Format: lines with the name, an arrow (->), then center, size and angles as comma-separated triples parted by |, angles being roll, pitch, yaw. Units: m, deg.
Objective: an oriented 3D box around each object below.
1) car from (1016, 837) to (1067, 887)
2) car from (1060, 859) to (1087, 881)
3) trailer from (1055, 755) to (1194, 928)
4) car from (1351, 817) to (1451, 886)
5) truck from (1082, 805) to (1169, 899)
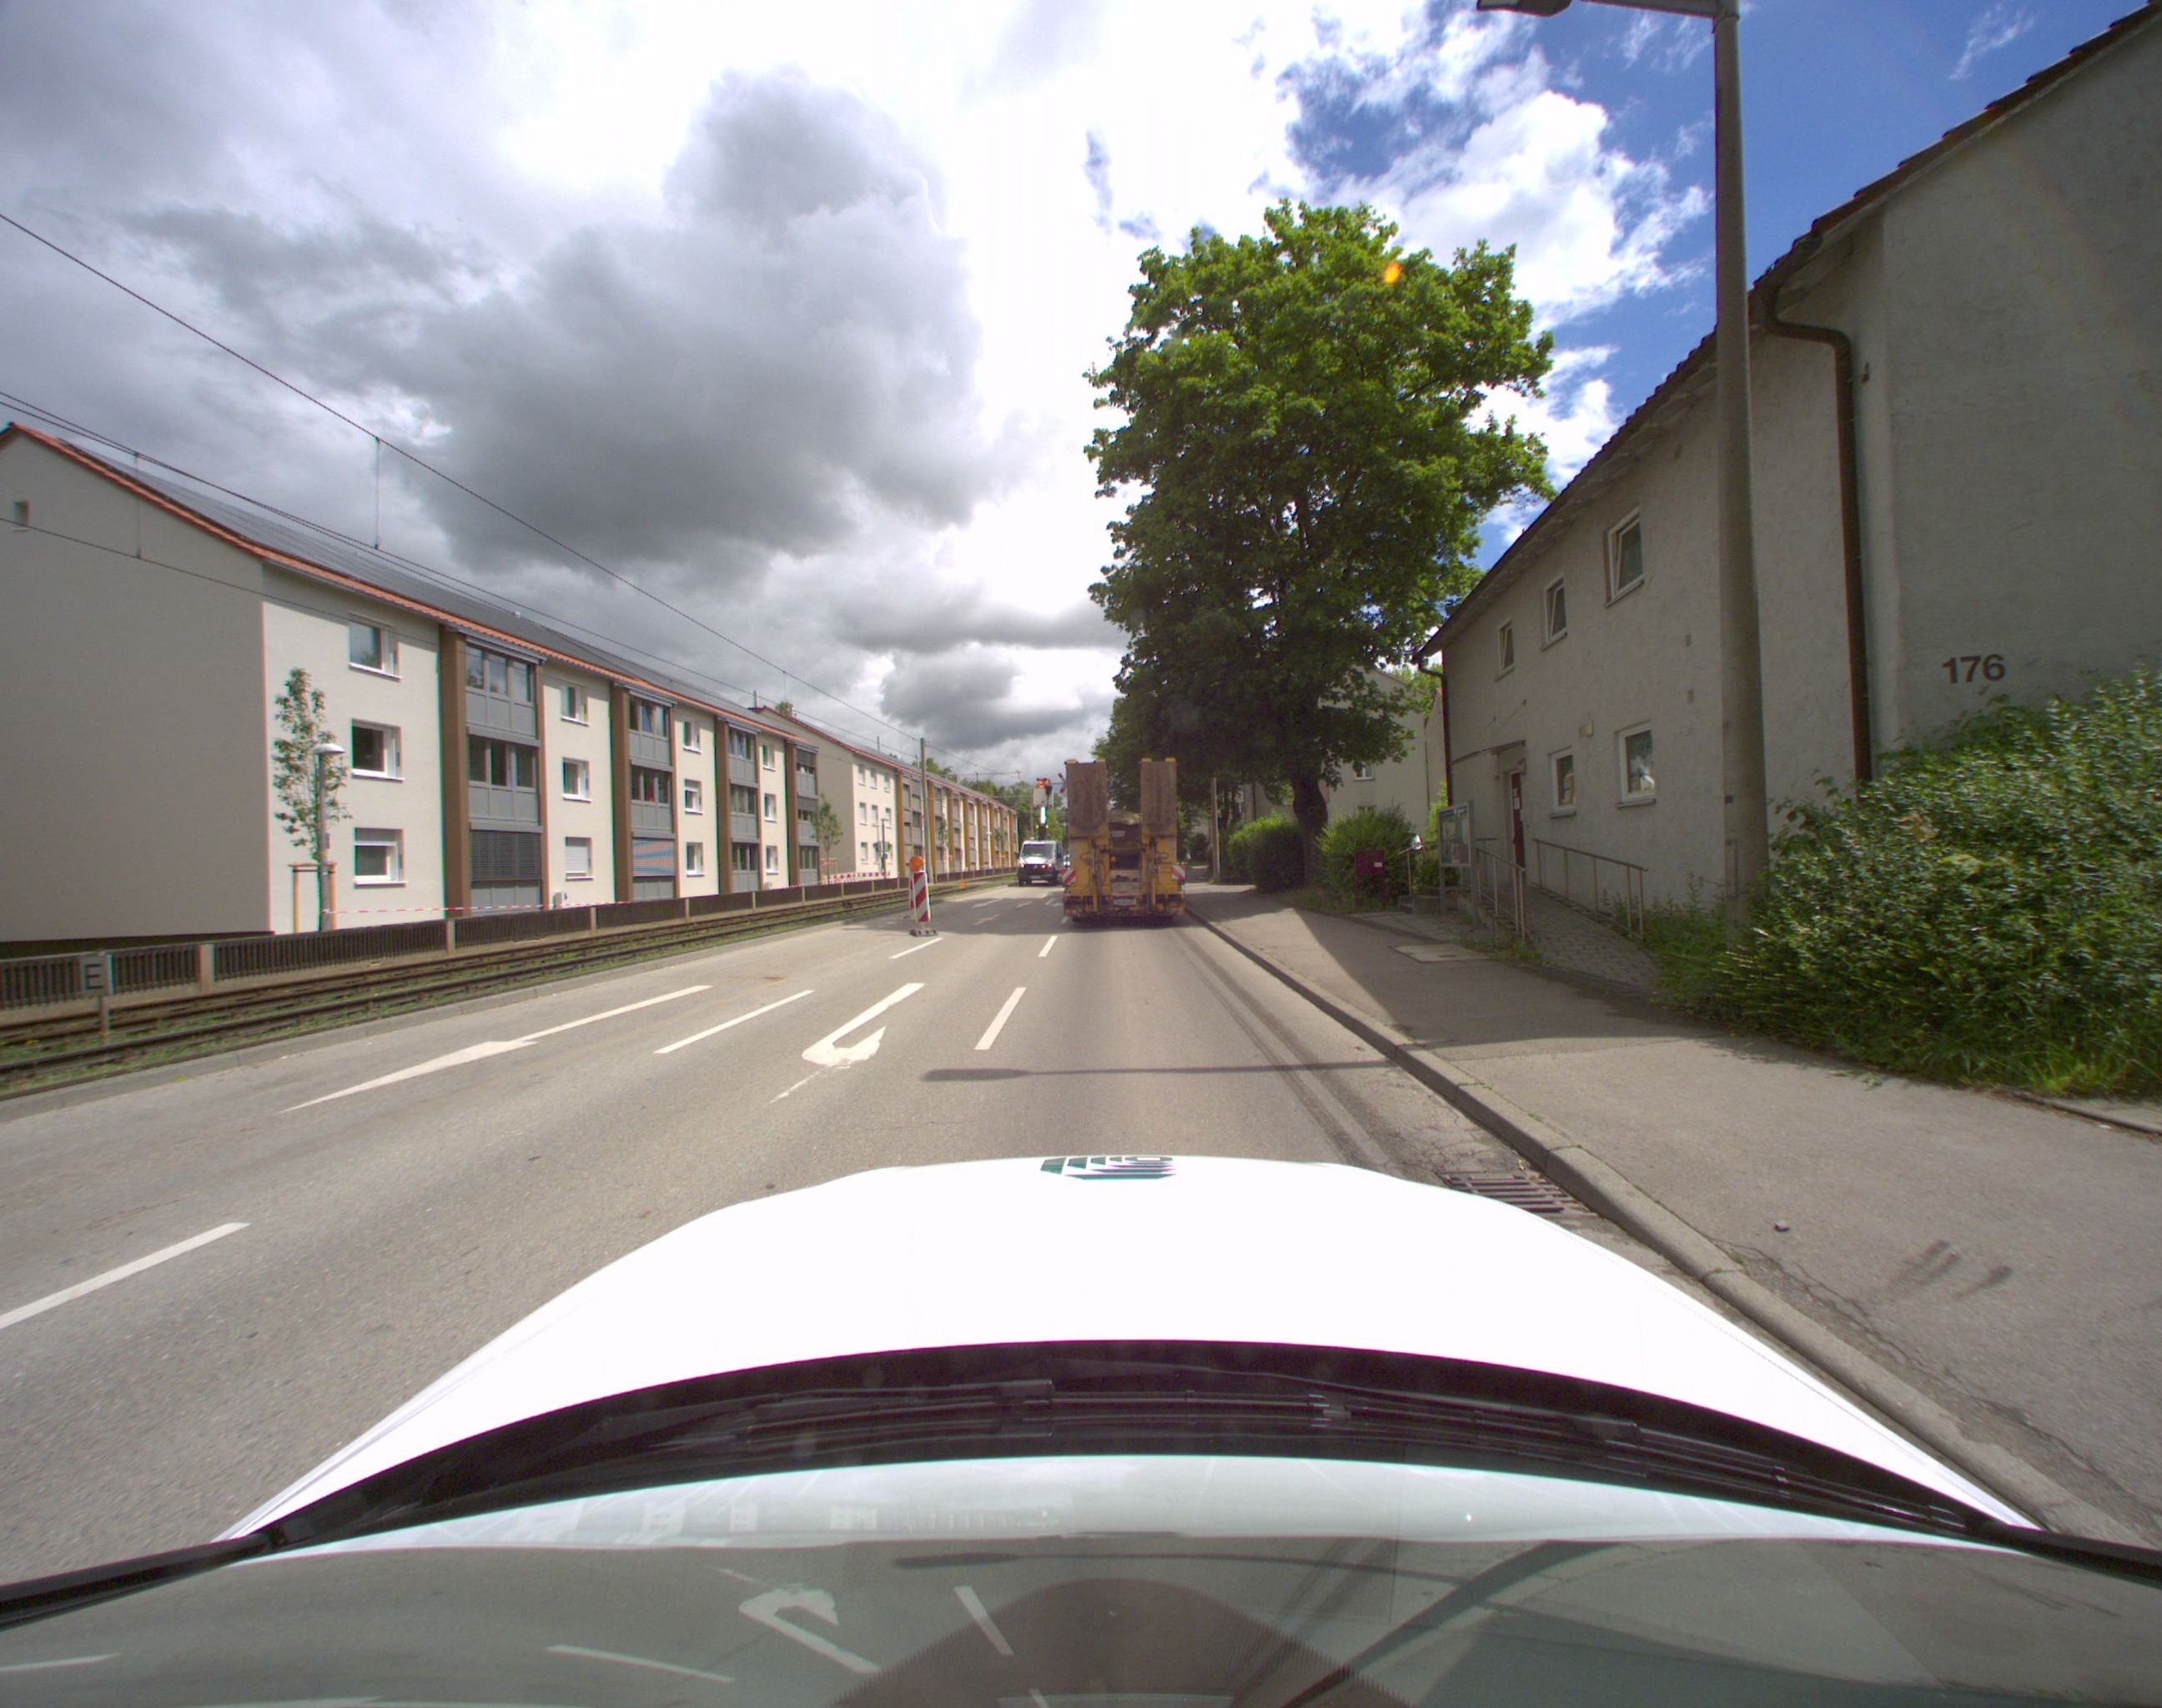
car -> -1.982, 0.404, 43.153 | 1.985, 2.430, 6.327 | -1, 0, 3
car -> -0.505, 1.121, 58.339 | 1.711, 1.552, 3.919 | -1, 0, 2
trailer -> 1.184, -0.242, 22.233 | 2.811, 3.524, 11.060 | -1, 0, 3
car -> 8.756, -0.059, 22.641 | 1.800, 1.649, 4.012 | -3, -1, 11
truck -> 1.731, -0.056, 31.599 | 2.905, 3.167, 7.686 | -1, 0, 3
